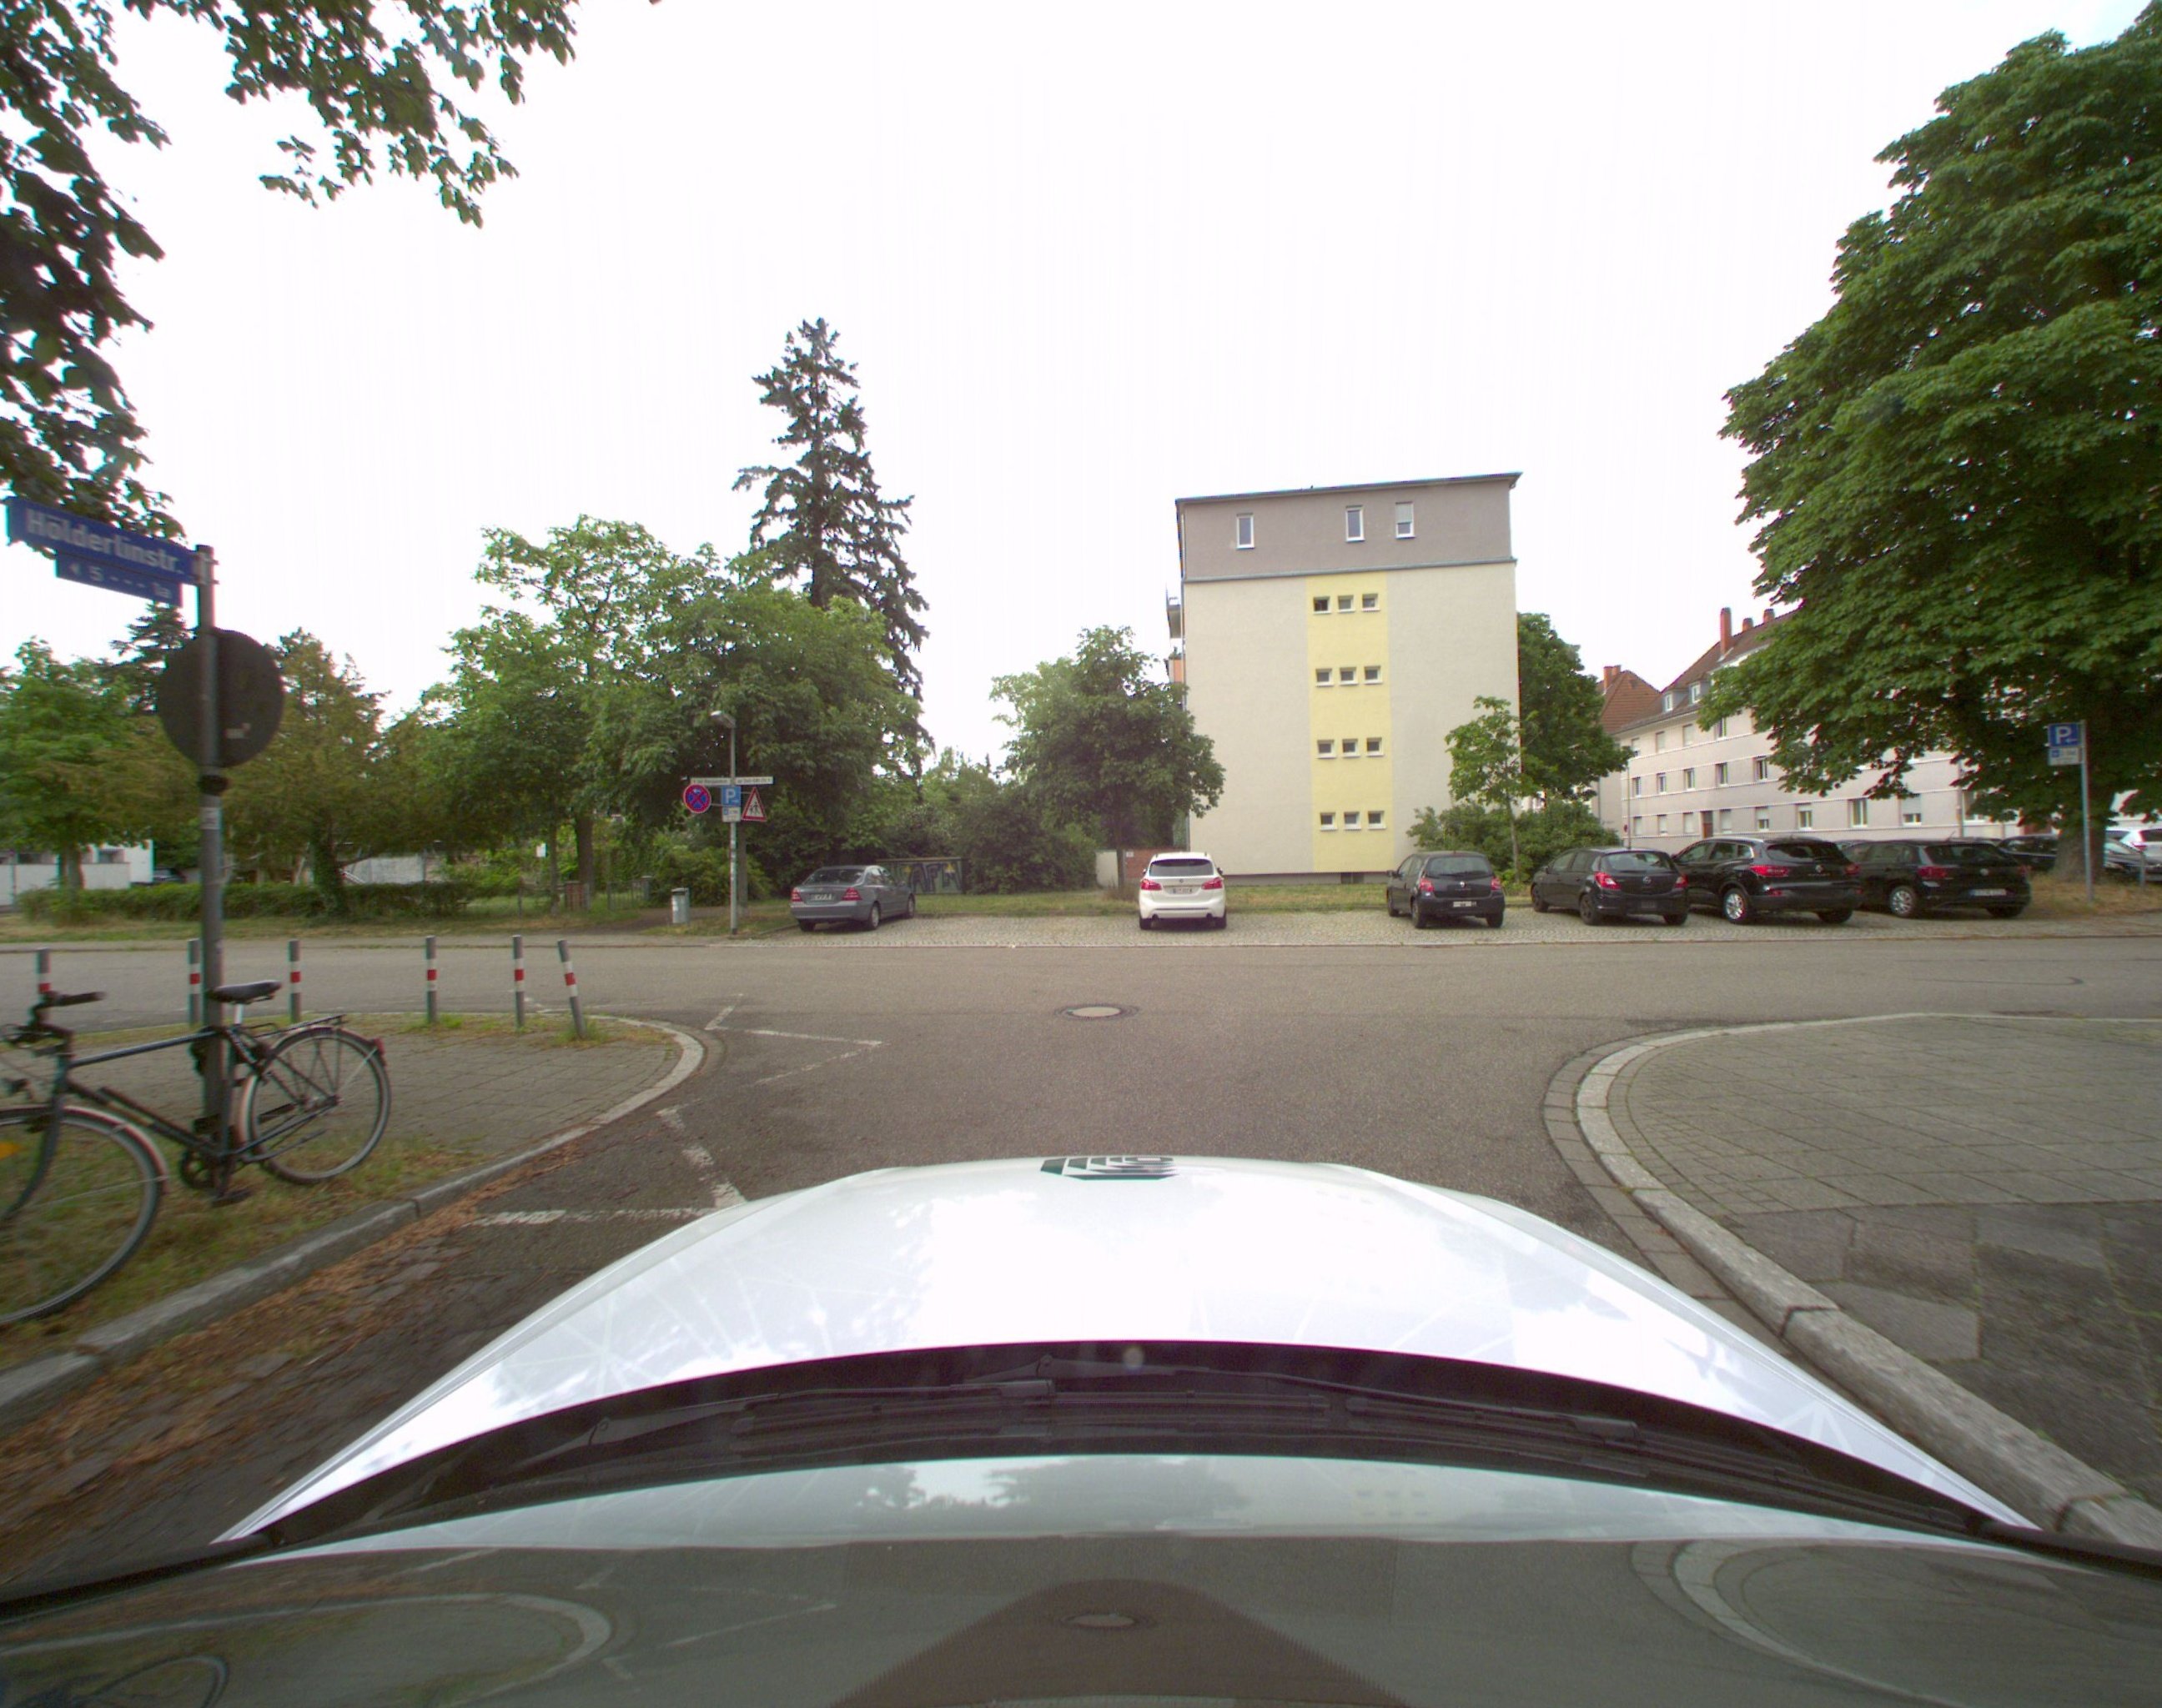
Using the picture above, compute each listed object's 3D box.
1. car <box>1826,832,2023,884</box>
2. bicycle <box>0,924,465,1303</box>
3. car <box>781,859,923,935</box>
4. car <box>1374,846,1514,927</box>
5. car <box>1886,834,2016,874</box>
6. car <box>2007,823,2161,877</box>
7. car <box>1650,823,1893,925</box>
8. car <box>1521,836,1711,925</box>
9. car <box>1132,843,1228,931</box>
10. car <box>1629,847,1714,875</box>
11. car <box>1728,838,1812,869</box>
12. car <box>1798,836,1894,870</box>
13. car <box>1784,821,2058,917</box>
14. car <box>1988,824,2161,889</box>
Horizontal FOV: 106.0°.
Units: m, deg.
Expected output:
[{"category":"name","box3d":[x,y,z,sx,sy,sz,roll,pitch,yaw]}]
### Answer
[{"category":"car","box3d":[26.473,0.127,25.859,1.856,1.464,4.847,1,0,10]},{"category":"bicycle","box3d":[-3.503,0.863,3.157,0.508,0.985,2.183,1,0,1]},{"category":"car","box3d":[-5.137,0.898,18.959,1.667,1.454,4.566,-1,0,4]},{"category":"car","box3d":[7.544,0.585,17.370,1.823,1.463,4.576,-1,1,12]},{"category":"car","box3d":[35.151,0.007,33.067,1.557,1.478,3.881,-2,-1,10]},{"category":"car","box3d":[34.558,-0.145,27.557,1.833,1.674,4.298,-3,-1,7]},{"category":"car","box3d":[13.088,0.326,15.818,1.897,1.697,4.083,-1,0,12]},{"category":"car","box3d":[10.714,0.448,16.722,1.823,1.566,4.372,-1,0,12]},{"category":"car","box3d":[2.257,0.623,18.057,1.867,1.560,4.160,0,3,9]},{"category":"car","box3d":[28.203,0.338,39.055,1.686,1.258,4.025,0,0,9]},{"category":"car","box3d":[37.075,-0.010,43.930,1.686,1.525,3.835,-3,-1,9]},{"category":"car","box3d":[36.366,-0.034,38.823,1.557,1.473,3.707,-2,-1,11]},{"category":"car","box3d":[16.060,0.279,15.900,1.813,1.577,3.854,-2,-1,11]},{"category":"car","box3d":[25.510,0.072,20.660,1.514,1.493,3.603,1,0,12]}]
